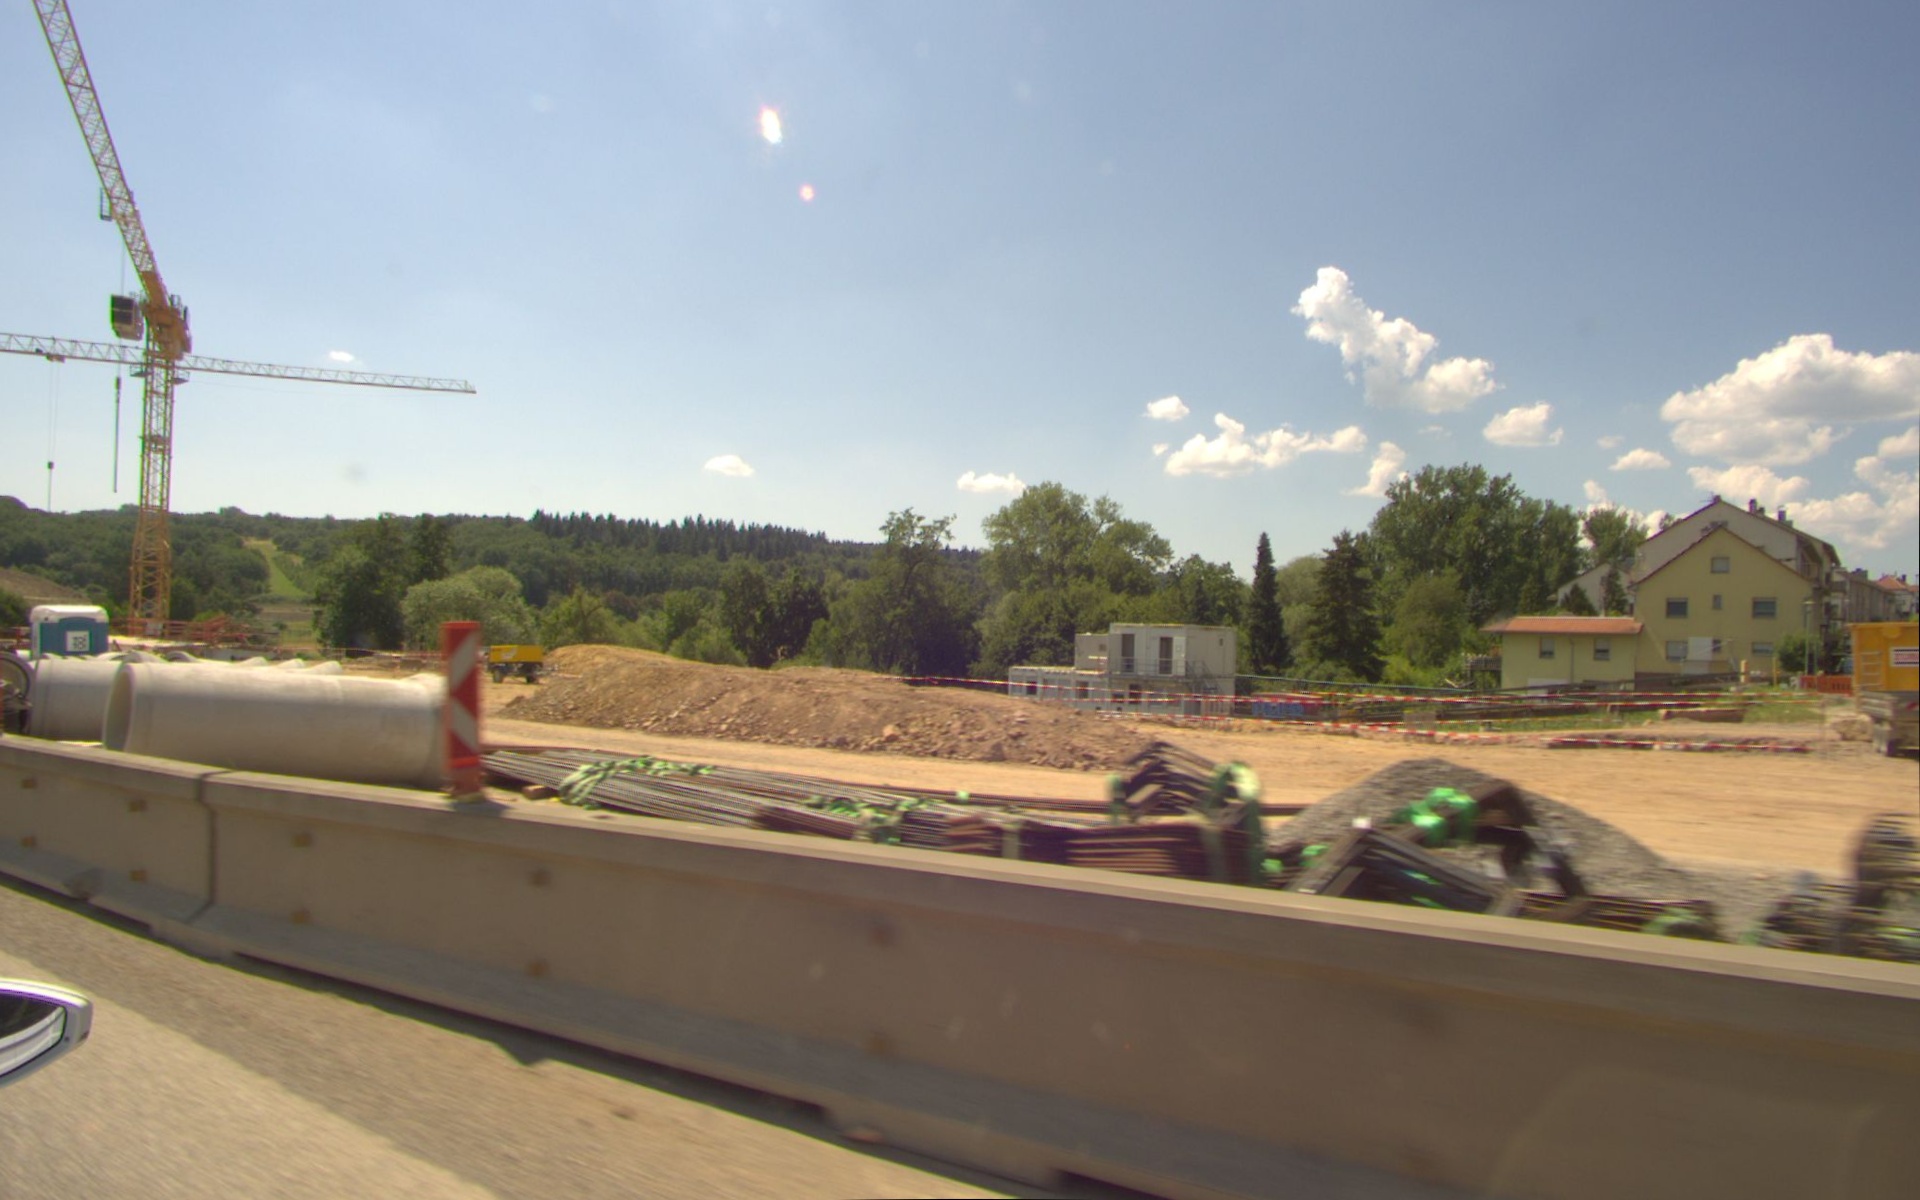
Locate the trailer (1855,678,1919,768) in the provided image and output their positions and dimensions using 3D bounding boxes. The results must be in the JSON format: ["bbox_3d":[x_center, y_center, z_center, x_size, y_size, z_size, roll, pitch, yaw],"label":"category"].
[{"bbox_3d":[16.919,2.018,16.960,2.029,1.234,4.701,-3,-4,35],"label":"trailer"}]

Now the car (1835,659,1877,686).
[{"bbox_3d":[54.825,4.420,61.304,1.559,1.526,4.139,-3,-4,38],"label":"car"}]

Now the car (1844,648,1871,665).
[{"bbox_3d":[83.080,5.225,92.710,1.559,1.526,3.973,-3,-4,38],"label":"car"}]

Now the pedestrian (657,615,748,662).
[{"bbox_3d":[-11.974,1.835,46.526,3.947,2.038,1.989,-3,-3,34],"label":"pedestrian"}]

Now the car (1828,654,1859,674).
[{"bbox_3d":[70.144,5.090,79.571,1.559,1.526,3.973,-3,-4,38],"label":"car"}]

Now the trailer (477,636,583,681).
[{"bbox_3d":[-15.511,2.095,36.068,3.771,1.504,1.621,-1,-3,32],"label":"trailer"}]

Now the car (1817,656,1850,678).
[{"bbox_3d":[64.345,4.899,73.794,1.559,1.526,3.973,-3,-4,38],"label":"car"}]
